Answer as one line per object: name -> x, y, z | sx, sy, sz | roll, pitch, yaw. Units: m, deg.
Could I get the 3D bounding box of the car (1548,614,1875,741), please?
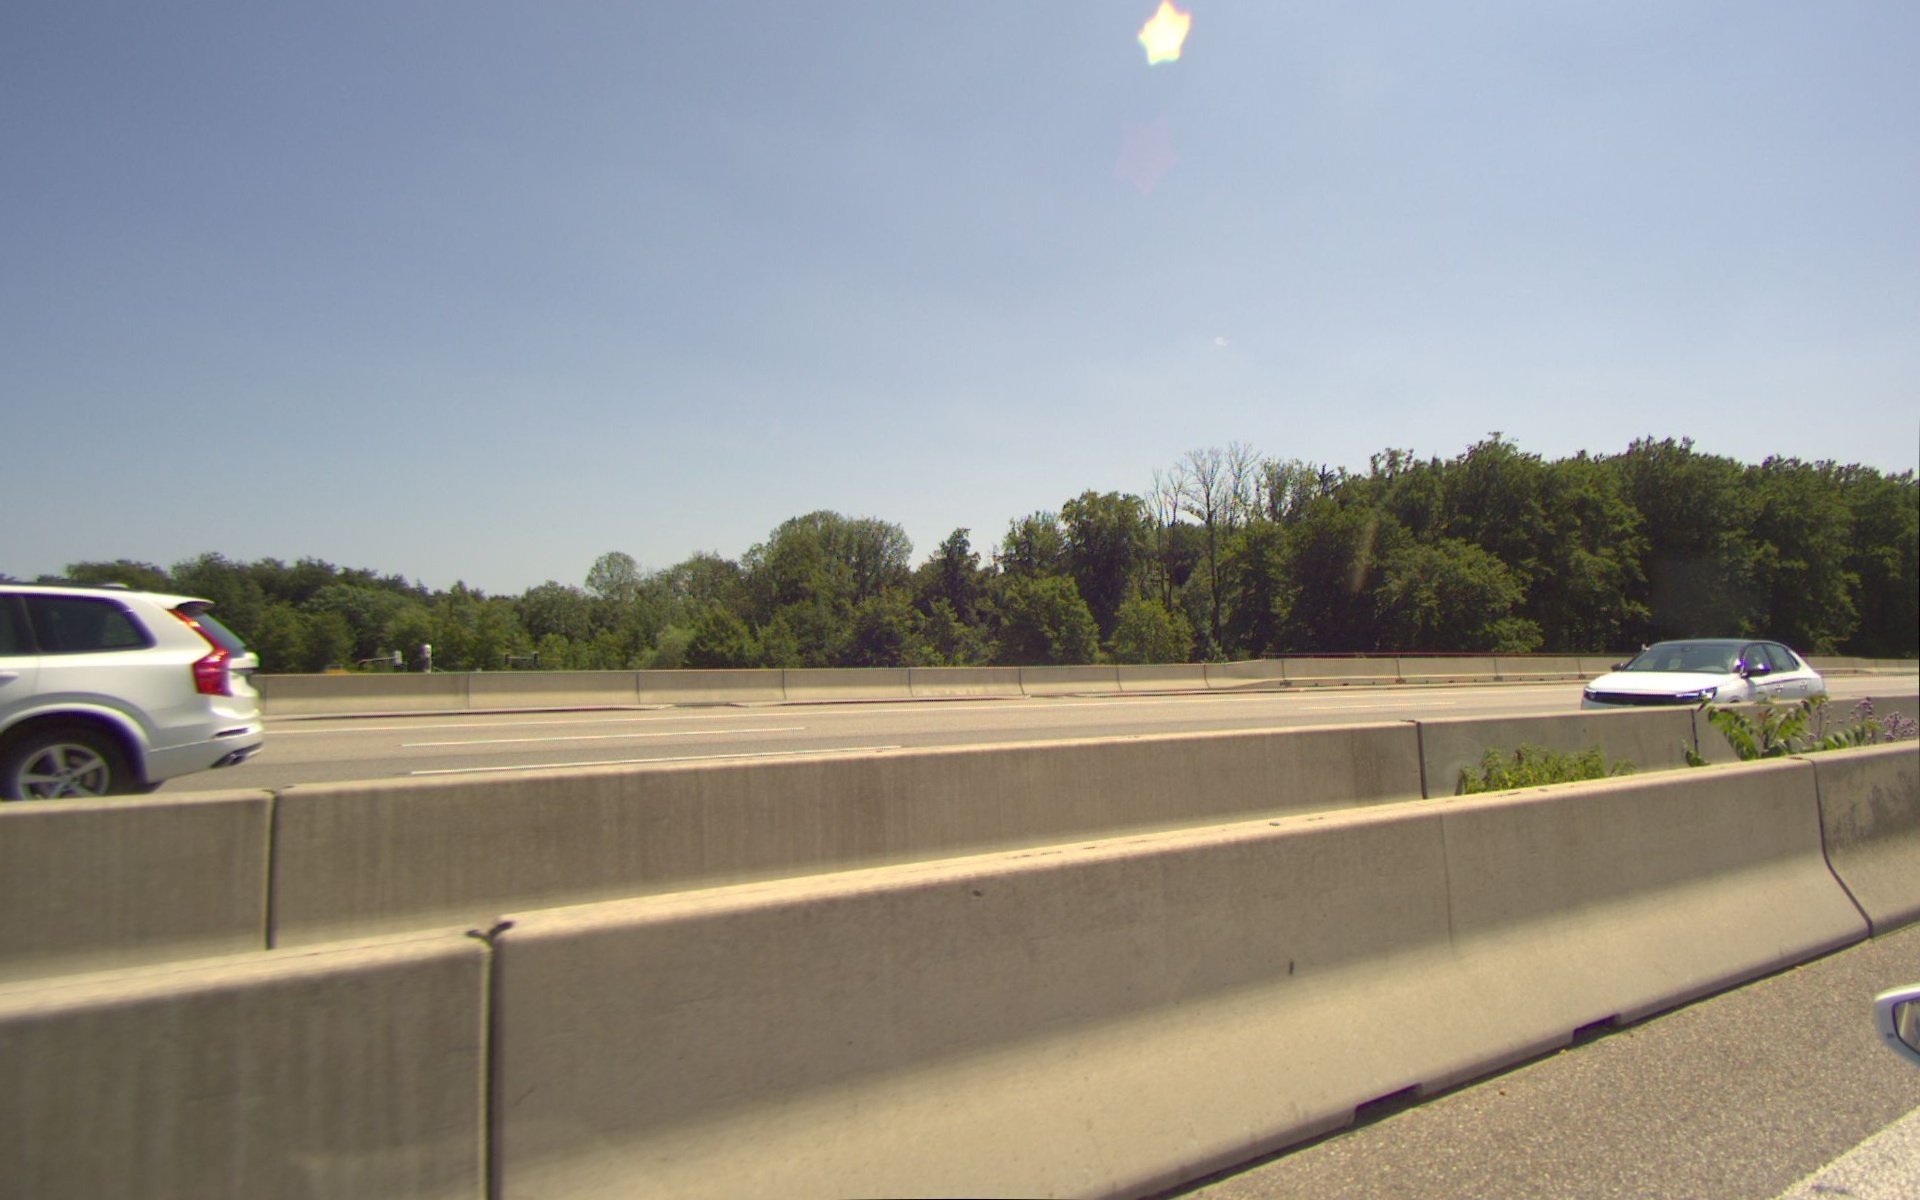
car -> 10.779, 1.037, 14.294 | 5.257, 1.543, 1.840 | 2, -3, -31

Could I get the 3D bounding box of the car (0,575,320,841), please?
car -> -7.805, 0.751, 7.242 | 5.257, 1.811, 1.984 | 2, -3, -31
